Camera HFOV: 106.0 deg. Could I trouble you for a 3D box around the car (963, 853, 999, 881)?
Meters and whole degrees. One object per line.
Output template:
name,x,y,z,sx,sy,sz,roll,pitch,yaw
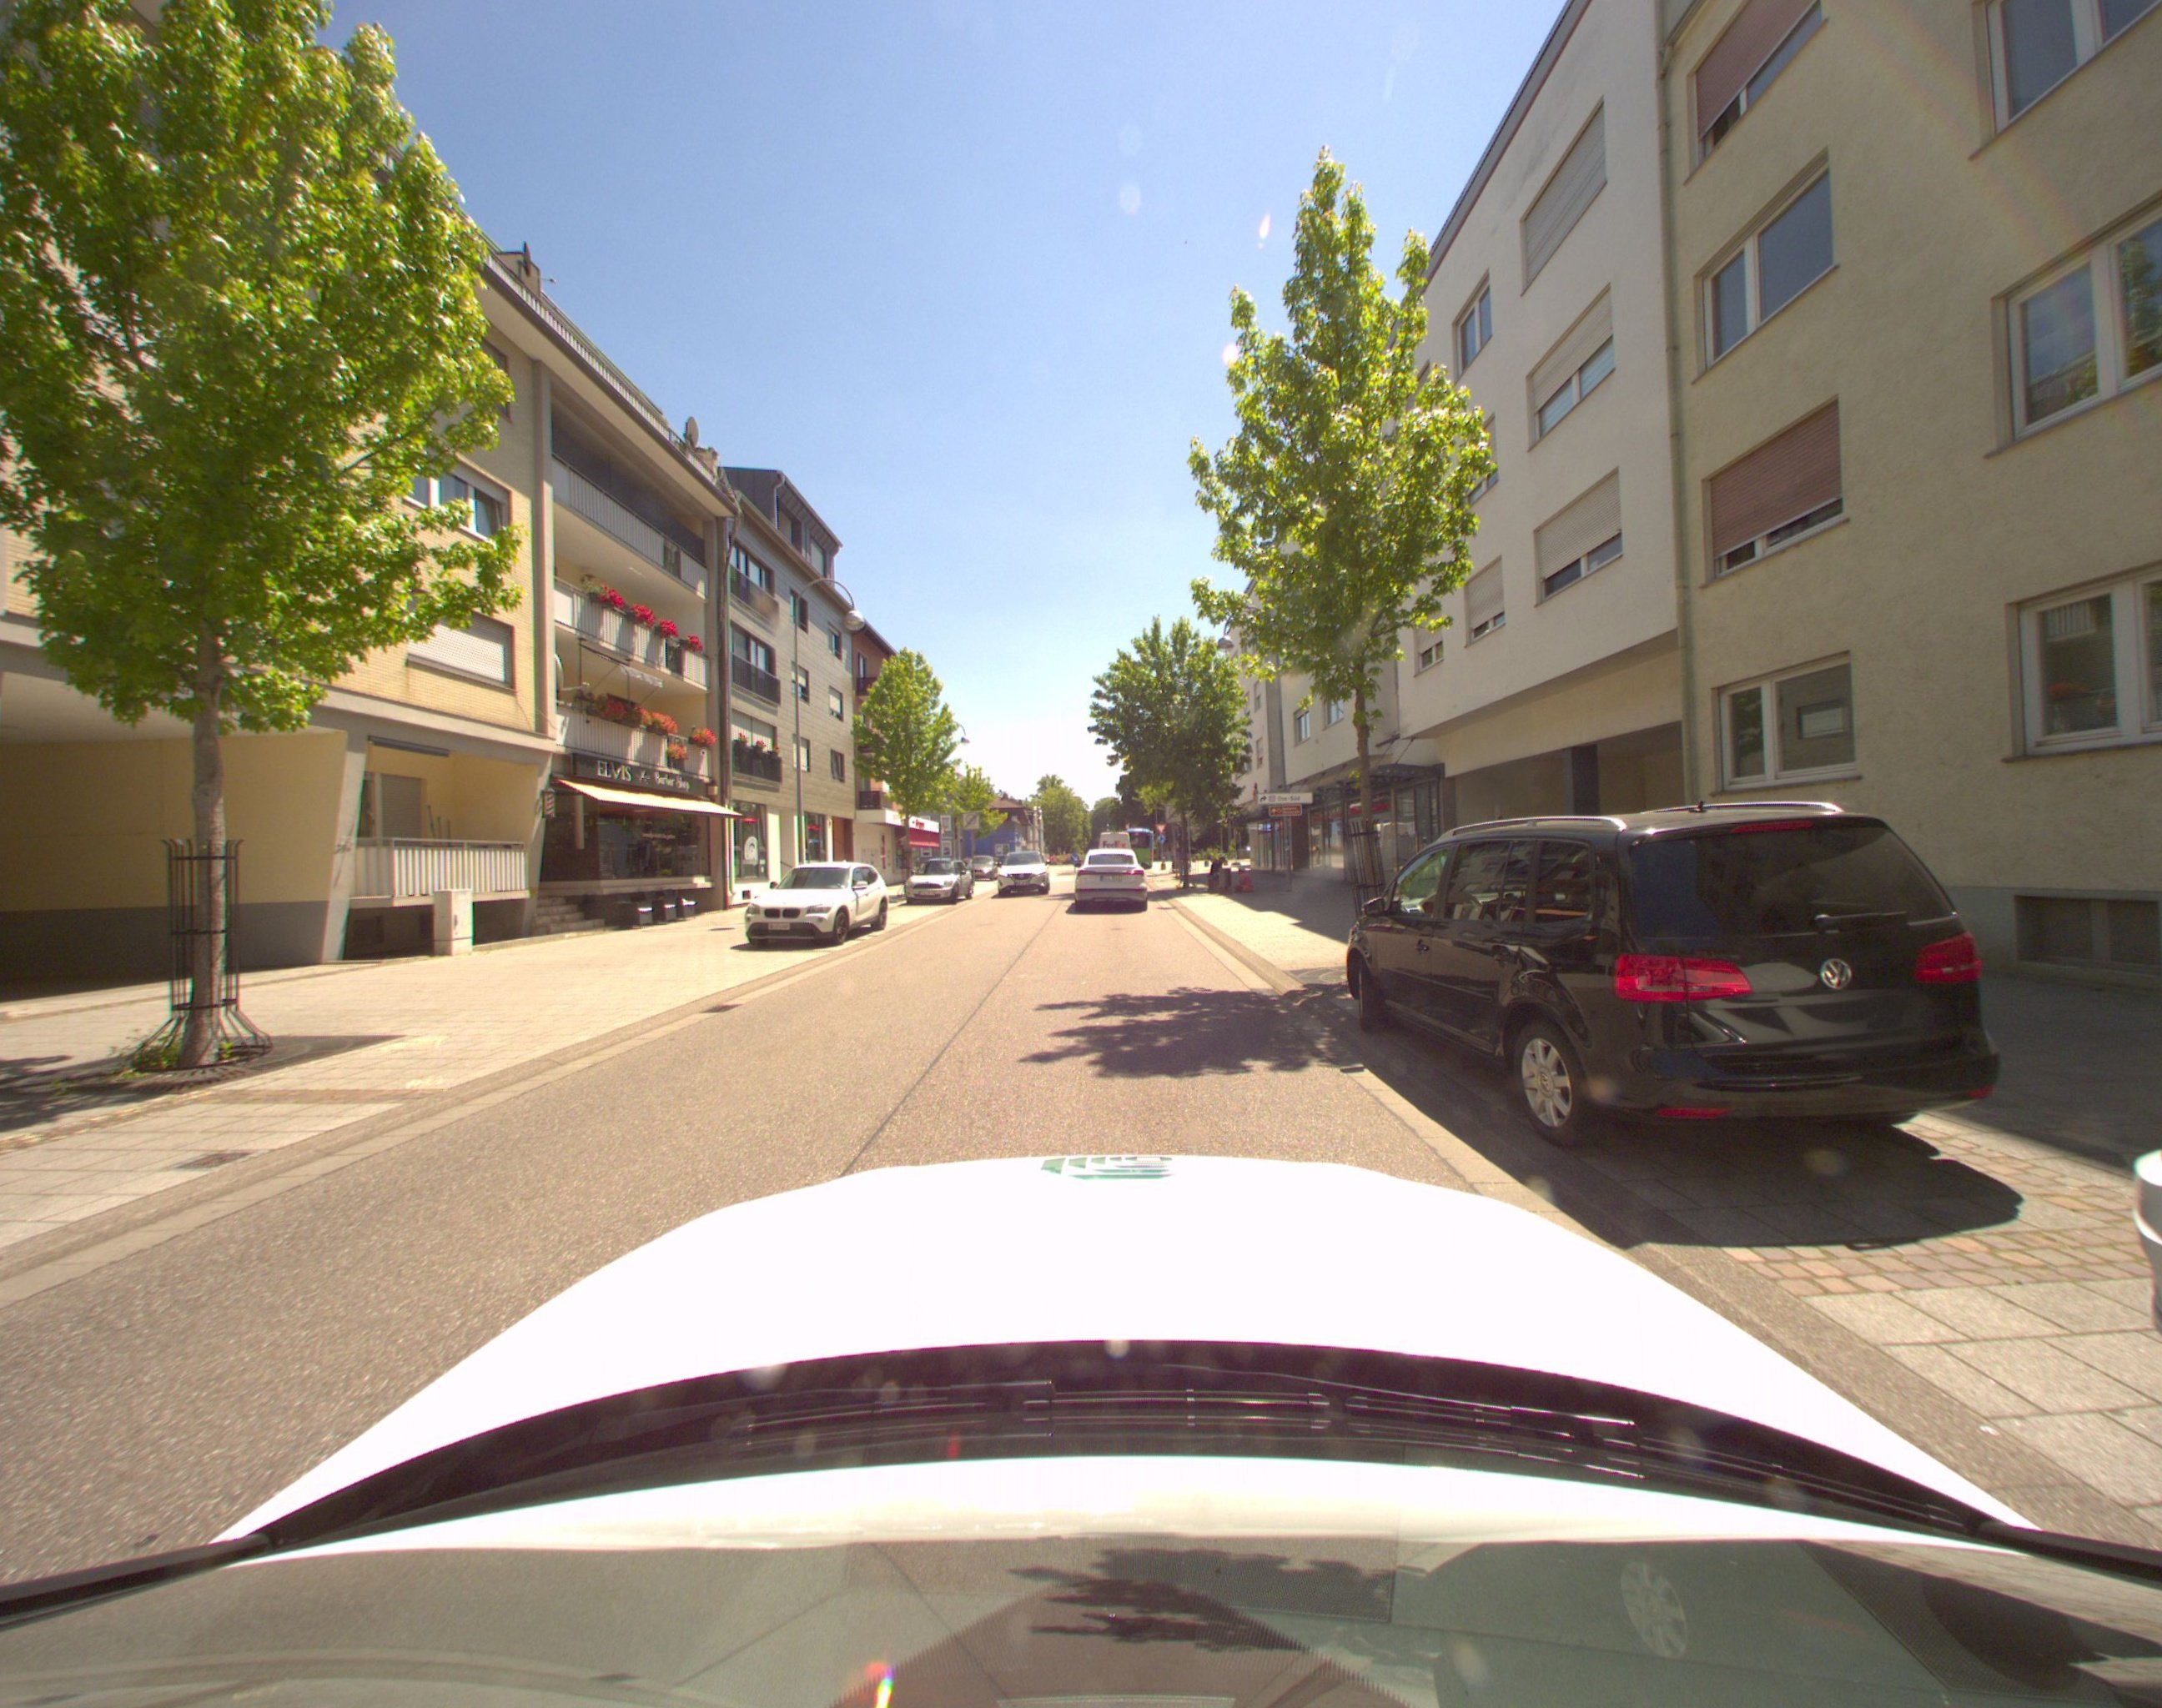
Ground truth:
car,-5.981,0.749,48.858,1.834,1.495,3.995,-2,0,-4

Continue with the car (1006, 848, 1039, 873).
car,-4.491,0.489,61.663,1.867,1.757,3.981,0,0,-14

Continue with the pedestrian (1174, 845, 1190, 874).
pedestrian,5.340,0.273,43.160,0.582,1.502,0.715,-2,0,-16

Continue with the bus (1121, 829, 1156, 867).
bus,5.206,-0.531,74.649,2.652,3.209,7.452,-1,0,1

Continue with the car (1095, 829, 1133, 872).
car,1.983,-0.187,49.474,2.148,2.442,5.285,0,0,2

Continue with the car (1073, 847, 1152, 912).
car,0.814,0.647,22.533,1.987,1.633,4.000,-1,0,0

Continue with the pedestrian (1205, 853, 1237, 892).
pedestrian,4.684,0.612,27.280,0.903,1.236,0.648,-2,0,0

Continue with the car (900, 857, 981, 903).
car,-4.669,0.816,27.657,1.745,1.453,4.404,0,0,3

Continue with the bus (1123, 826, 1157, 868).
bus,4.902,-0.515,67.390,2.649,3.221,7.309,0,0,4

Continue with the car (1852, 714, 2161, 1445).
car,3.406,0.462,0.193,1.891,1.674,4.688,-4,0,-1

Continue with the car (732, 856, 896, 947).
car,-5.279,0.862,16.795,1.745,1.618,4.404,0,0,3

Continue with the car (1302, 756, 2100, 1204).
car,3.125,0.499,5.544,1.850,1.674,4.535,-4,0,-1

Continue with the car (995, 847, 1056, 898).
car,-2.039,0.654,30.905,1.850,1.692,4.151,-3,0,1

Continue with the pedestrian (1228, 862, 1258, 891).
pedestrian,5.332,0.737,26.797,0.901,0.879,0.649,-2,0,6
